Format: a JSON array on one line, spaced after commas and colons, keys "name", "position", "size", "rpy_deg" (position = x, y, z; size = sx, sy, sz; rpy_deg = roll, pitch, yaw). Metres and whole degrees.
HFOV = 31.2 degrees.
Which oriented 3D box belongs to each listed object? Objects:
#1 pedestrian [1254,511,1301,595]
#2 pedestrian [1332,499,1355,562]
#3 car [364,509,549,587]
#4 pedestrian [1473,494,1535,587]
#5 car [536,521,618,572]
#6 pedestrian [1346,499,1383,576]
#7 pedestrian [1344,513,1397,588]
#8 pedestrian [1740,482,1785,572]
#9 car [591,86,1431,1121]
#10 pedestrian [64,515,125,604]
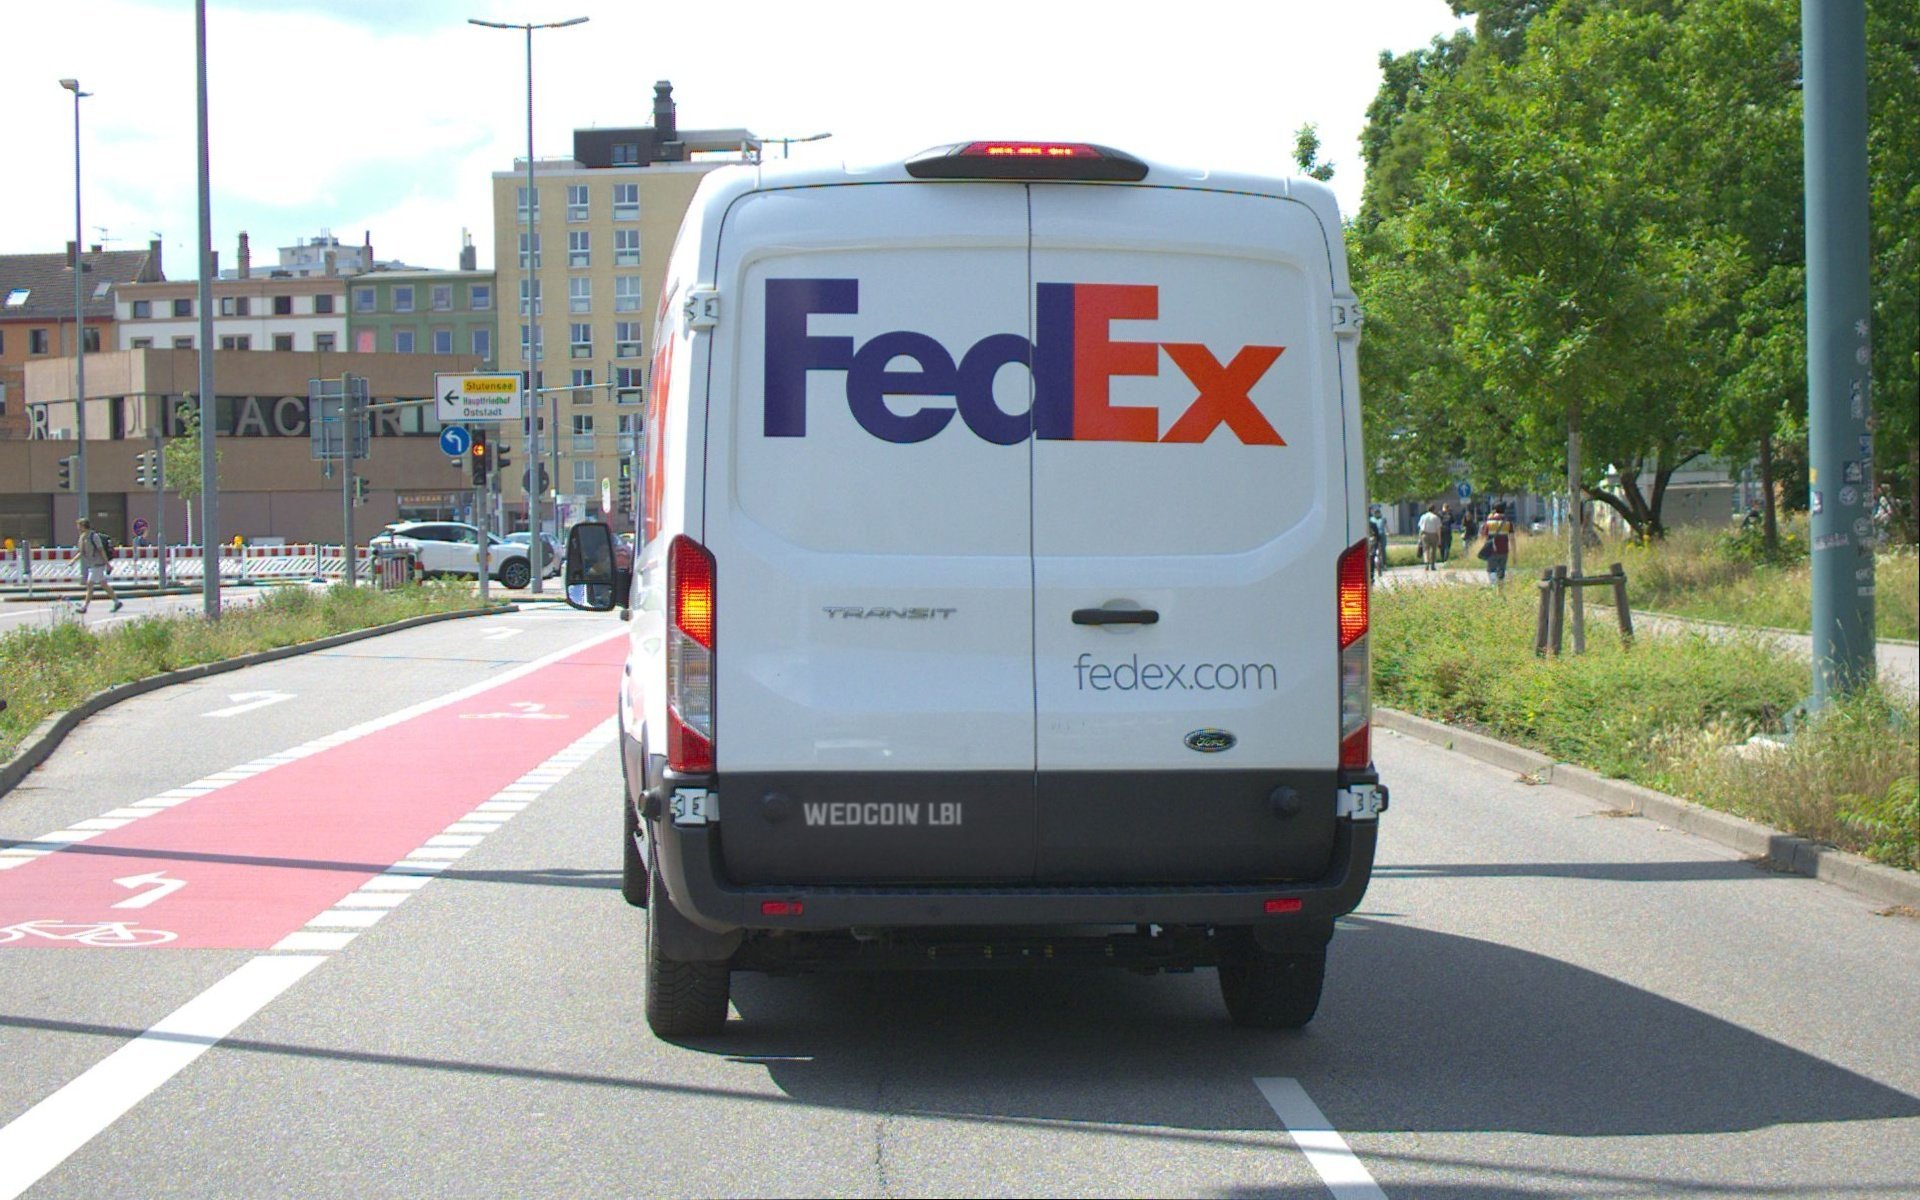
[{"name": "pedestrian", "position": [7.196, -1.065, 77.964], "size": [0.950, 1.886, 0.774], "rpy_deg": [-1, 1, -2]}, {"name": "pedestrian", "position": [11.517, -2.081, 103.138], "size": [0.574, 1.886, 0.679], "rpy_deg": [-1, 1, -2]}, {"name": "car", "position": [-12.190, -1.258, 83.440], "size": [4.356, 1.787, 2.000], "rpy_deg": [-1, 1, -6]}, {"name": "pedestrian", "position": [9.052, -0.998, 57.228], "size": [0.845, 1.533, 0.835], "rpy_deg": [-1, 1, -2]}, {"name": "car", "position": [-12.795, -1.799, 114.975], "size": [1.879, 1.646, 3.999], "rpy_deg": [-1, 1, 6]}, {"name": "pedestrian", "position": [9.943, -1.533, 84.492], "size": [0.679, 1.886, 0.574], "rpy_deg": [1, 2, 42]}, {"name": "pedestrian", "position": [7.665, -0.932, 64.221], "size": [0.845, 1.384, 0.741], "rpy_deg": [-1, 1, -2]}, {"name": "pedestrian", "position": [18.408, -1.670, 78.842], "size": [0.846, 2.051, 0.740], "rpy_deg": [0, 2, 26]}, {"name": "car", "position": [-0.154, -0.078, 11.738], "size": [2.140, 2.643, 5.705], "rpy_deg": [-1, 2, -6]}, {"name": "pedestrian", "position": [-15.337, -0.725, 60.915], "size": [0.873, 1.554, 0.555], "rpy_deg": [-2, 2, -36]}]
